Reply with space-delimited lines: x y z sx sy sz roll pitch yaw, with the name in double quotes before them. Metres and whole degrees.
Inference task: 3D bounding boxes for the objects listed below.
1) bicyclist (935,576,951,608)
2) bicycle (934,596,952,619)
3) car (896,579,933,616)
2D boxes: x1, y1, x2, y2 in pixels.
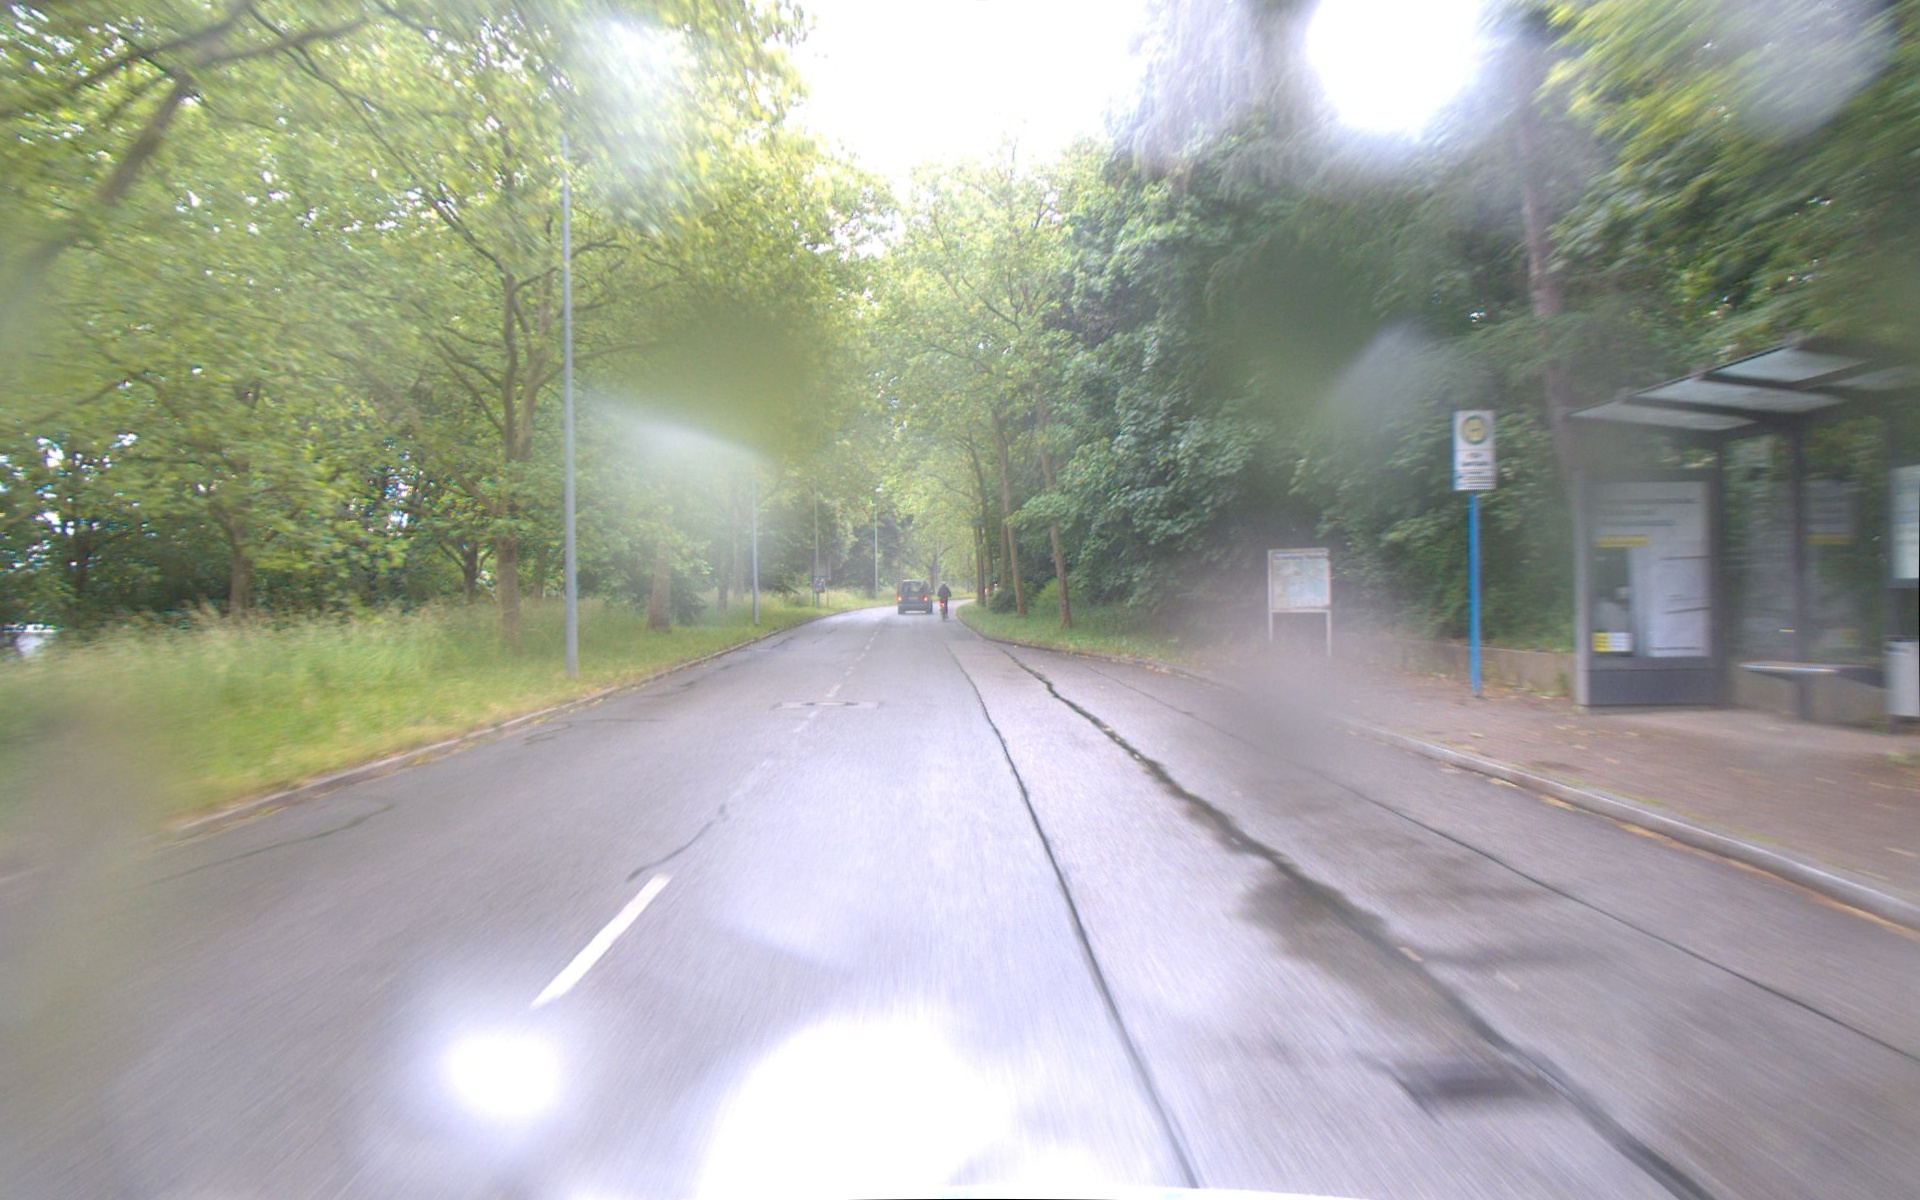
"bicyclist" -0.781 -0.365 76.017 0.714 1.435 0.973 1 0 1
"bicycle" -0.782 0.340 76.139 0.714 0.991 2.173 1 0 1
"car" -2.529 -0.164 91.434 1.946 1.959 3.997 0 0 -3
